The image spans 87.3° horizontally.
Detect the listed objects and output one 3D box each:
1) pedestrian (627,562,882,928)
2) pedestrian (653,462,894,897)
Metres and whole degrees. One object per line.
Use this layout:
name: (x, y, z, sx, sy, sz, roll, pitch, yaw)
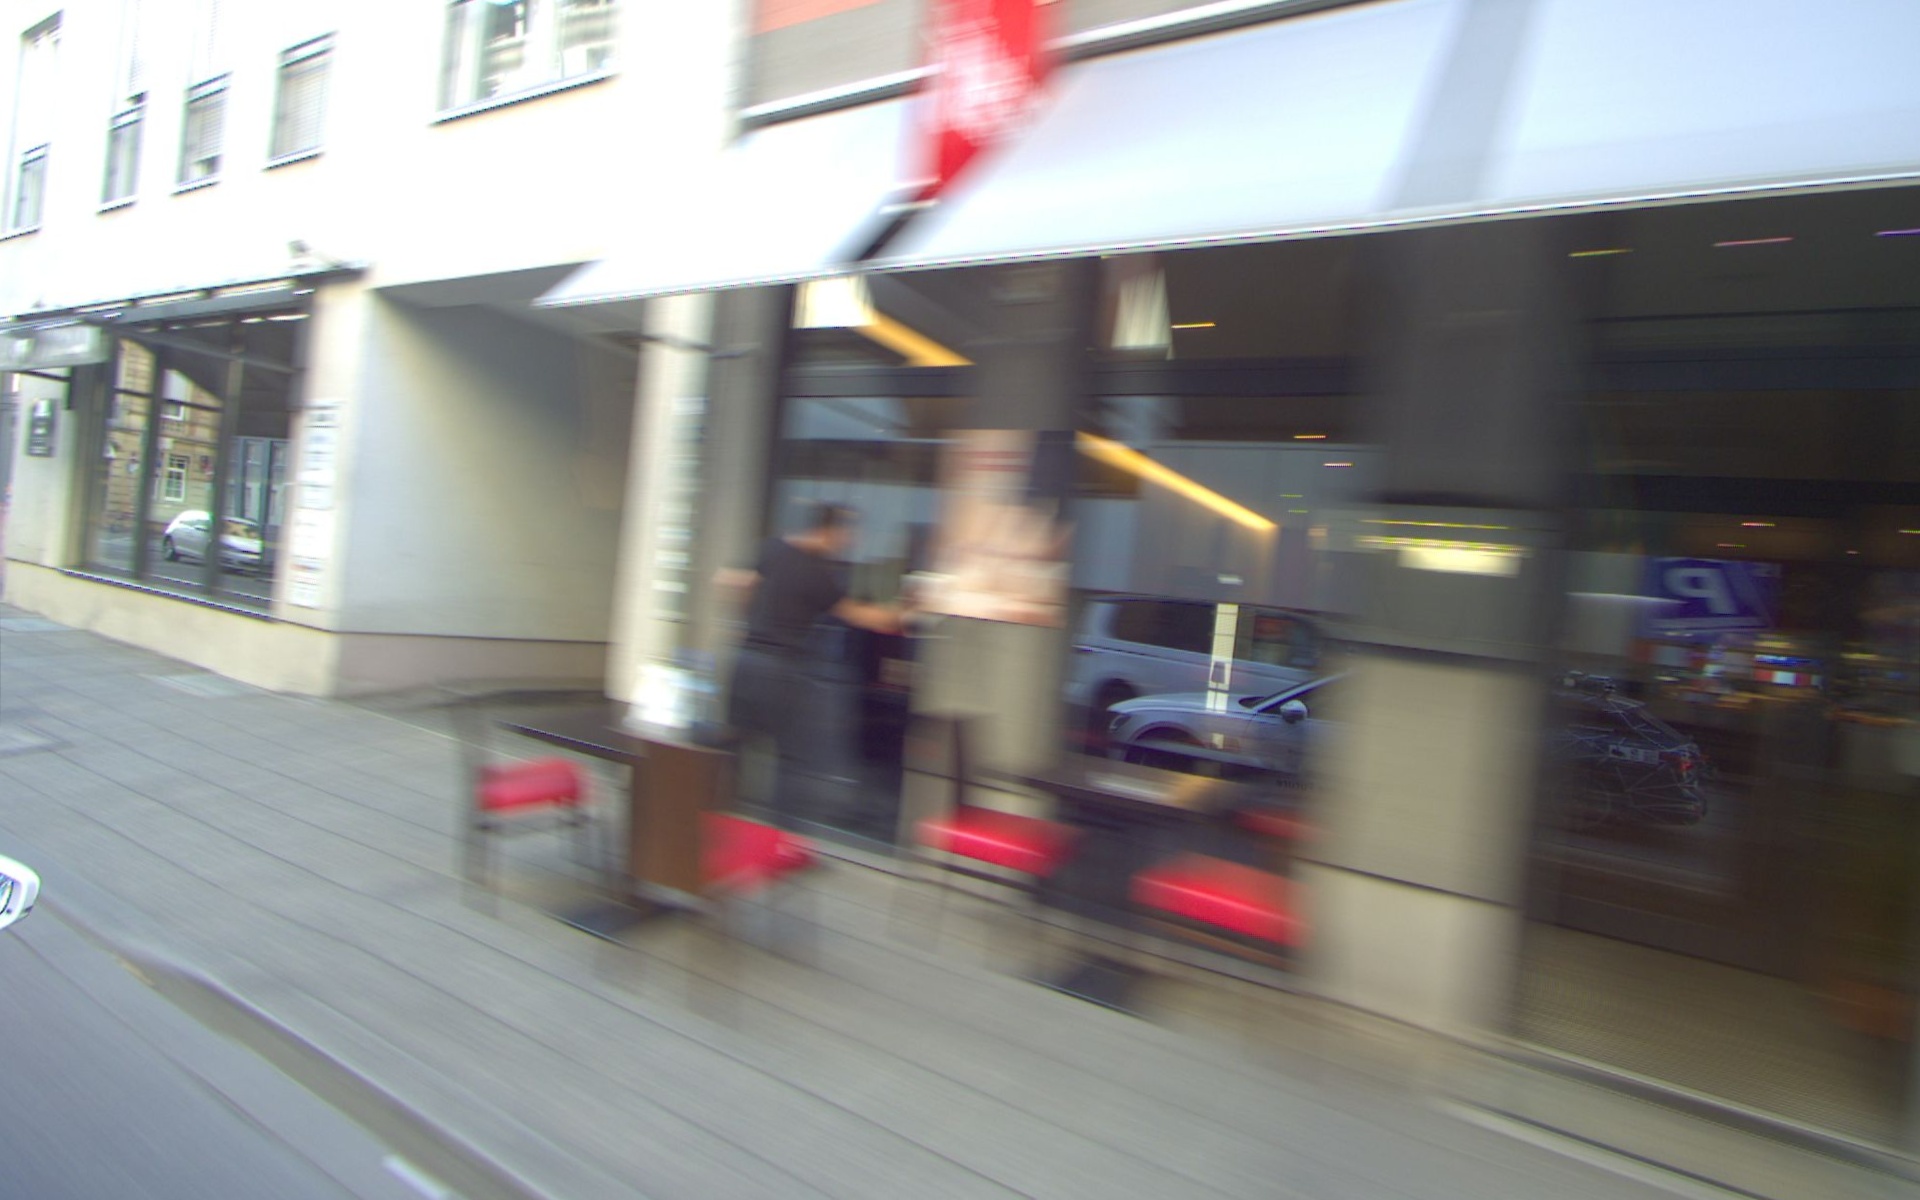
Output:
pedestrian: (-0.950, 0.633, 4.757, 0.650, 1.505, 0.826, 7, 1, 30)
pedestrian: (-0.863, 0.323, 4.666, 0.718, 1.817, 0.657, 7, 4, 33)
